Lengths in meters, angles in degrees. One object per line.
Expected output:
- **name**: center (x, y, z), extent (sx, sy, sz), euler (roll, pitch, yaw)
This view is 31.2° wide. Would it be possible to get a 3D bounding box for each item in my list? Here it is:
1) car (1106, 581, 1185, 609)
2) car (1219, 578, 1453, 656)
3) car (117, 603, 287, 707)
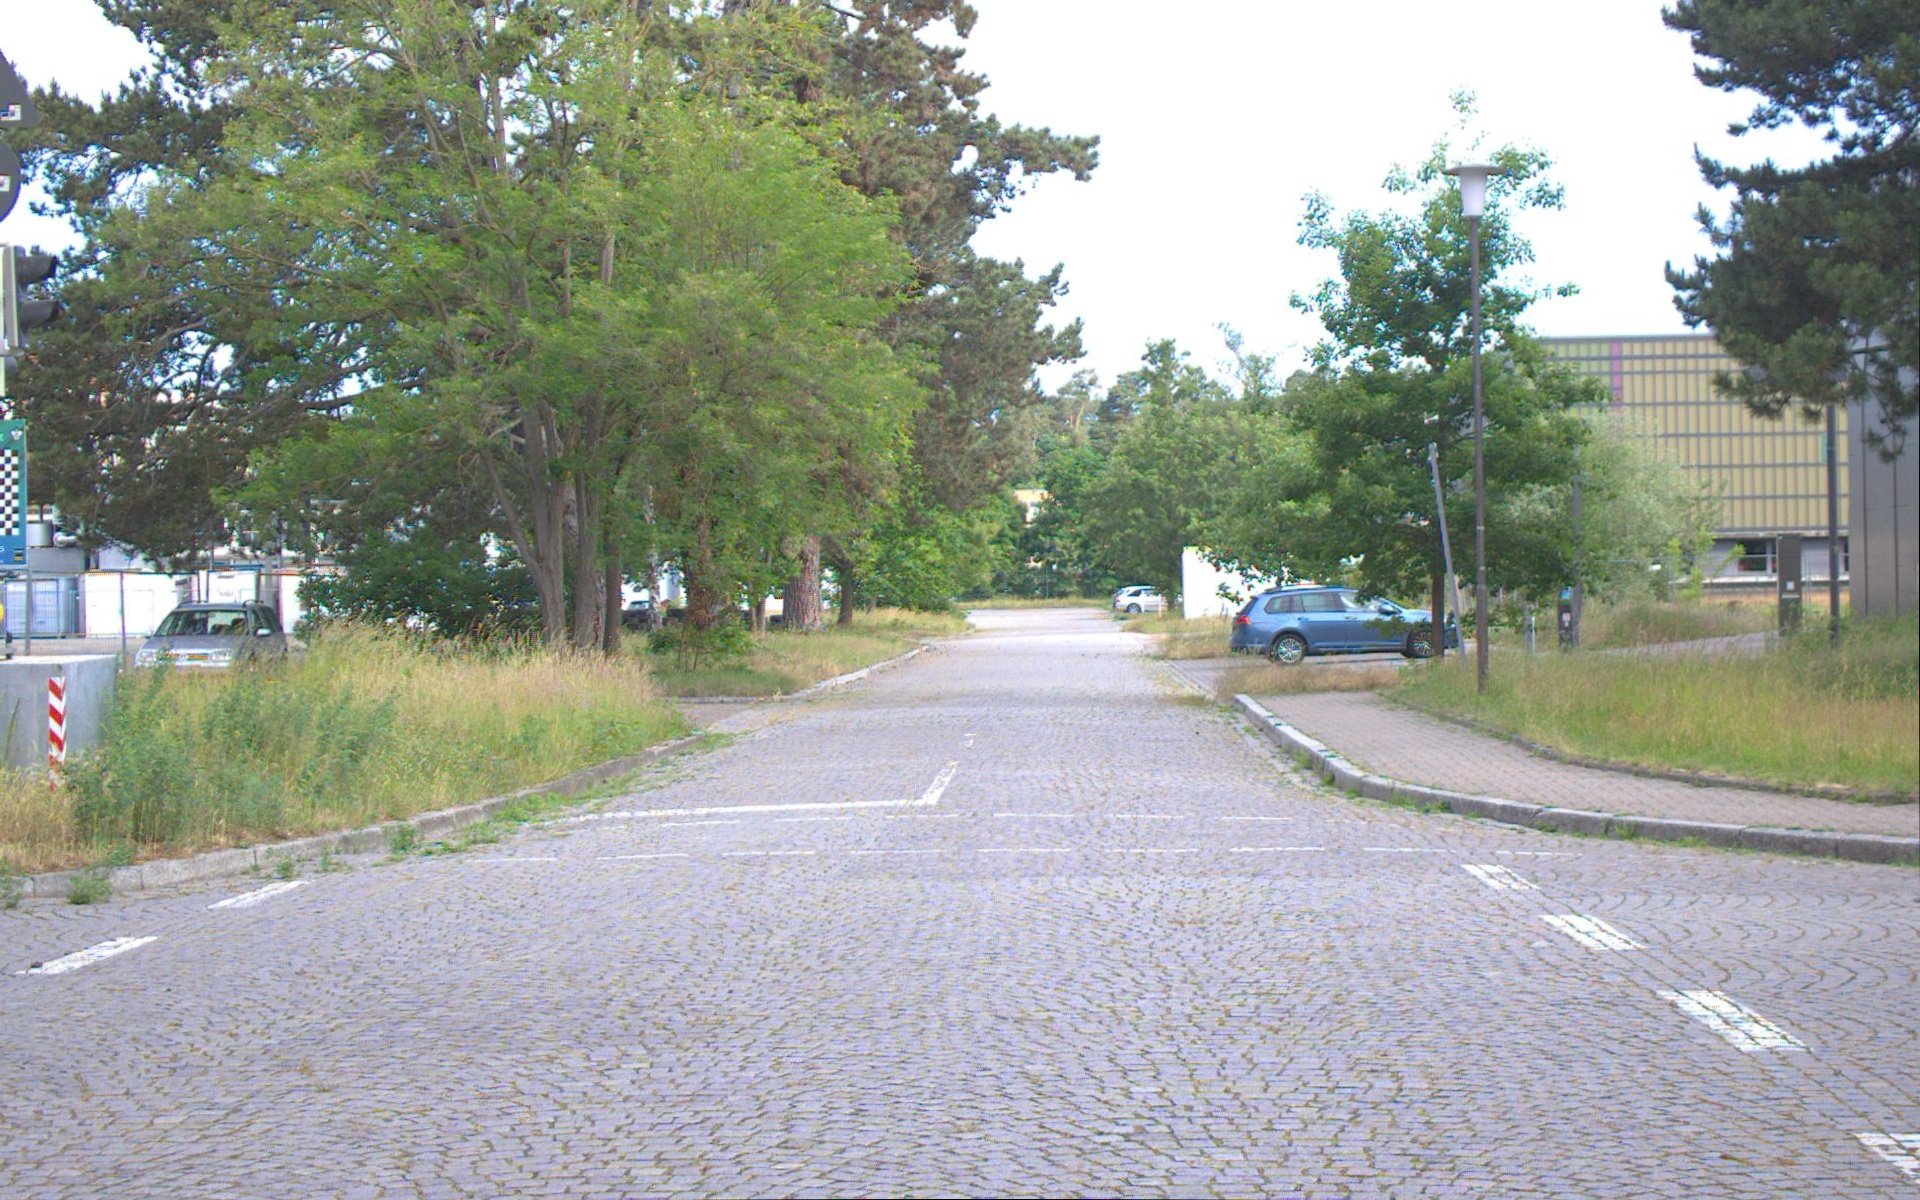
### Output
- **car**: center (9.945, -0.277, 184.317), extent (3.986, 1.393, 2.000), euler (-1, 0, -4)
- **car**: center (7.321, 0.324, 67.260), extent (4.344, 1.417, 2.000), euler (-1, 0, 0)
- **car**: center (-11.652, 0.820, 53.092), extent (1.613, 1.482, 4.000), euler (-1, 0, 2)
